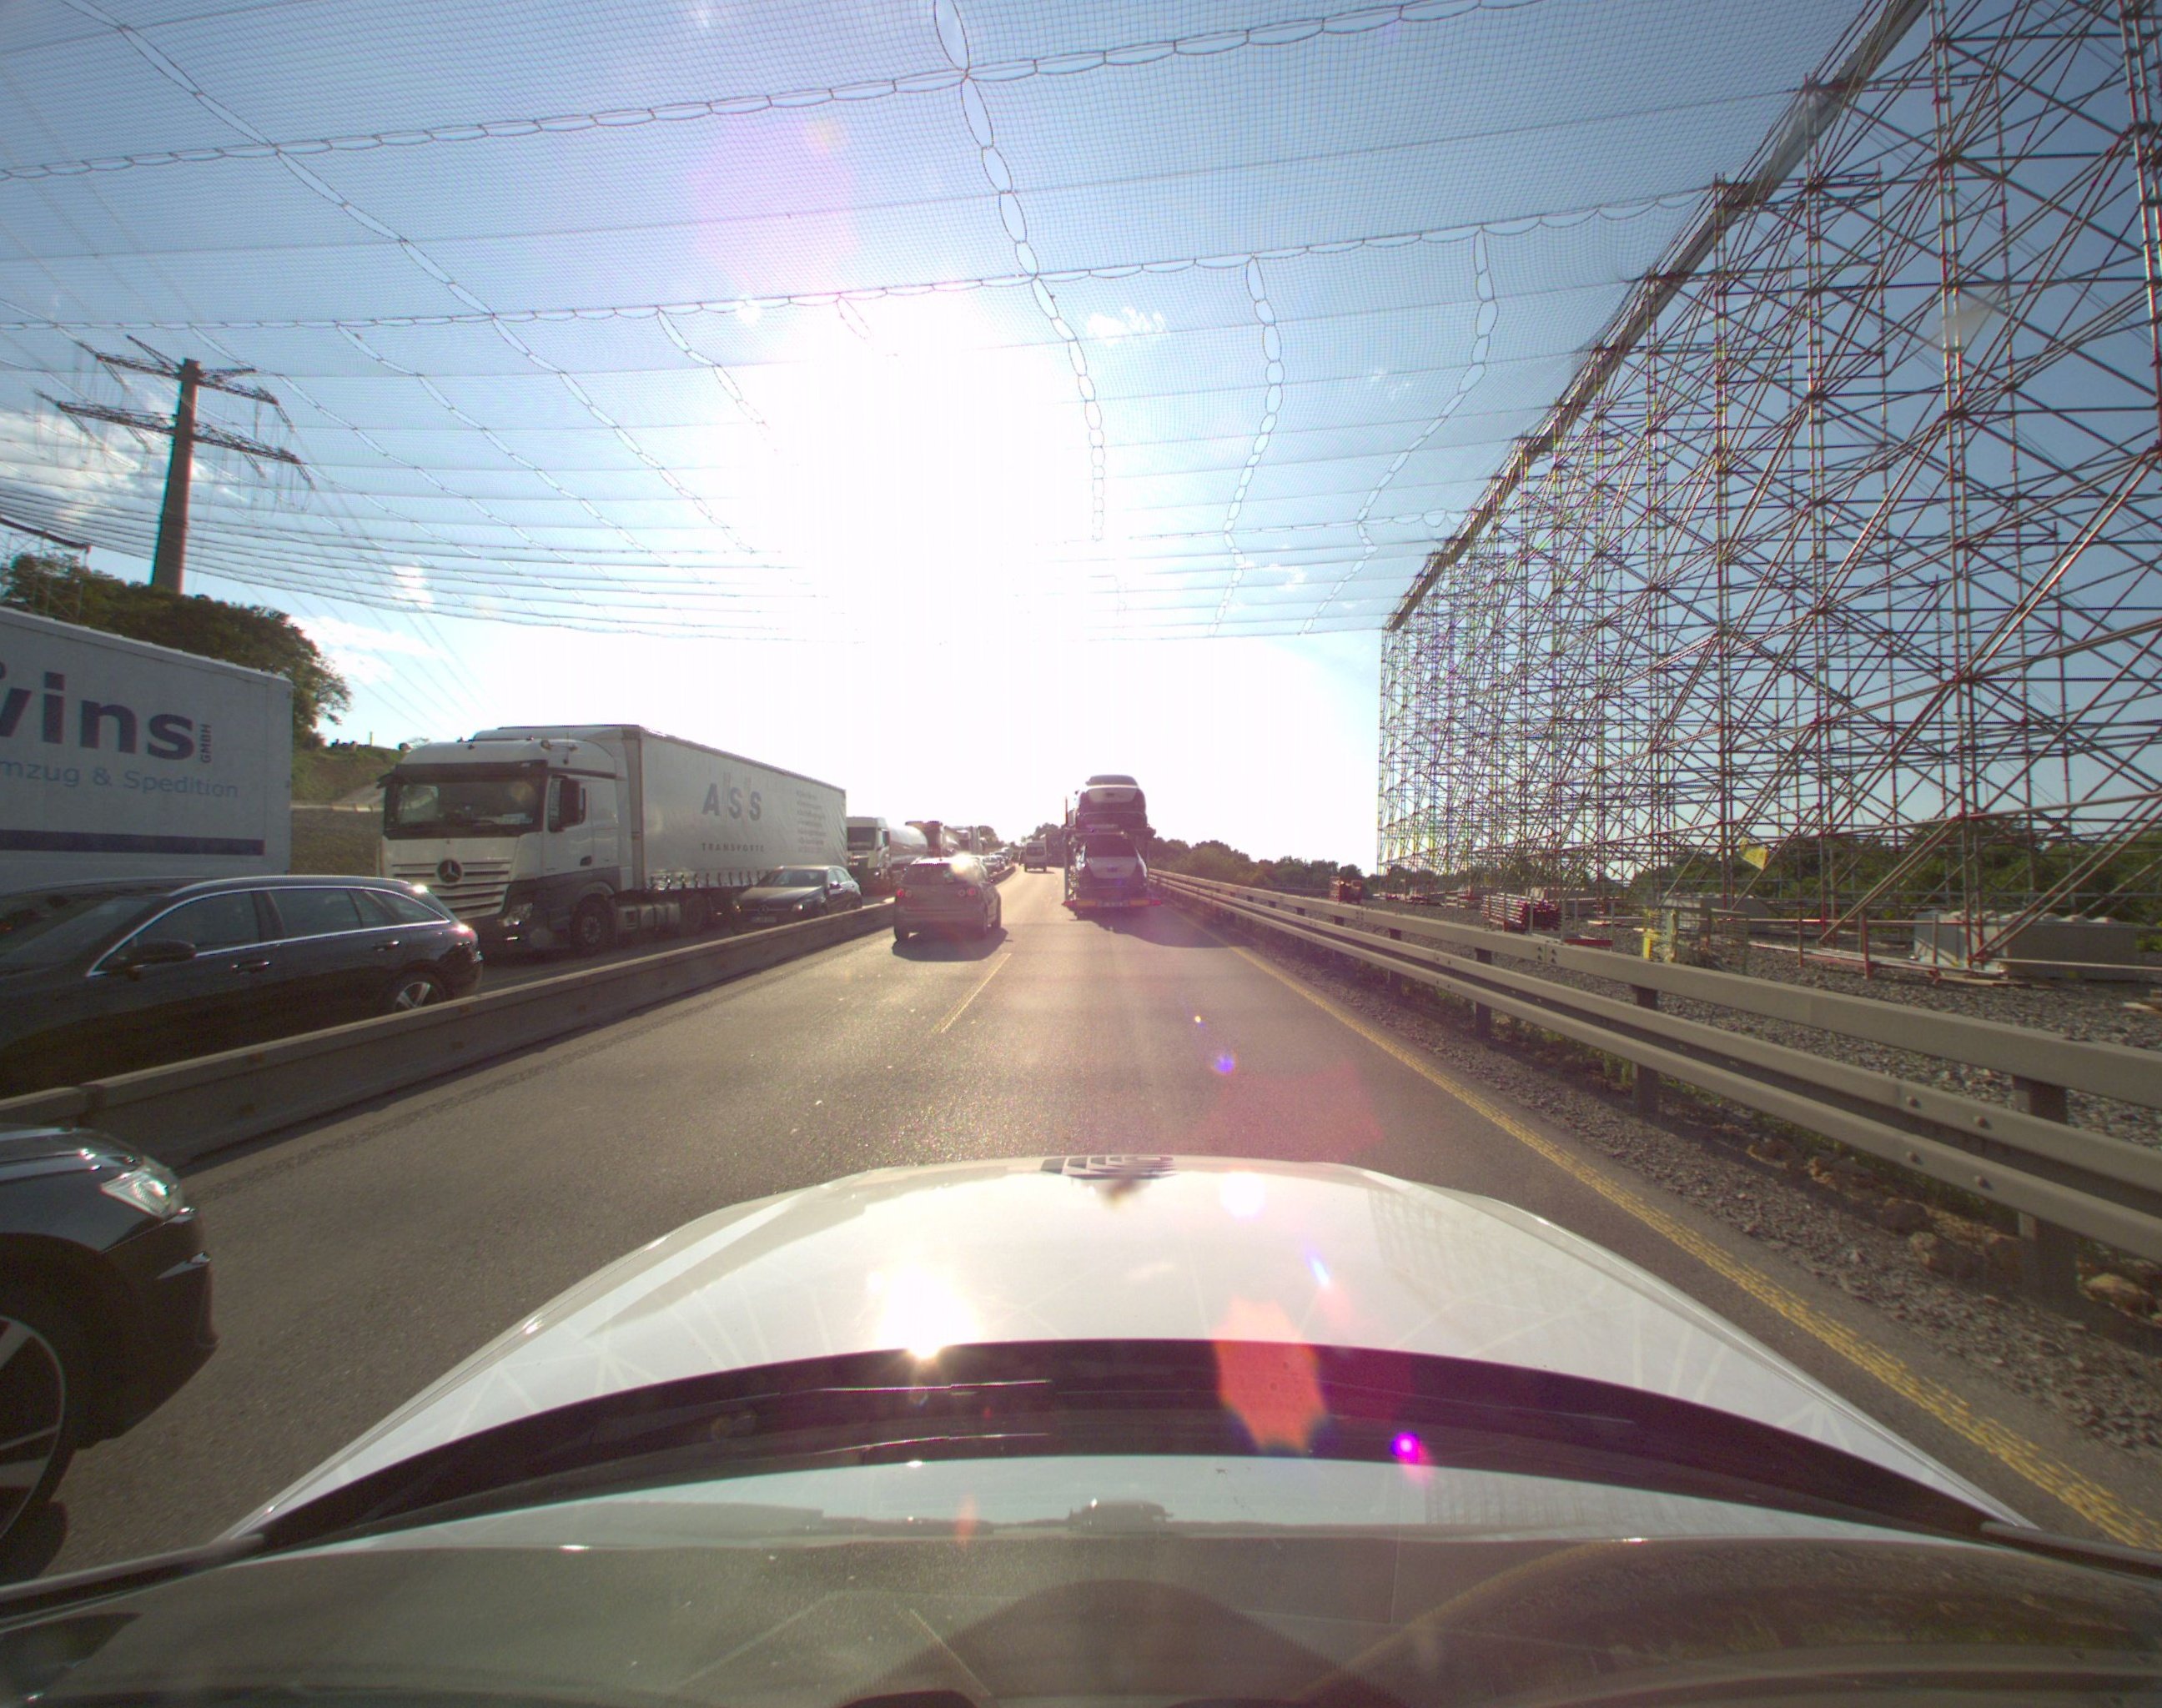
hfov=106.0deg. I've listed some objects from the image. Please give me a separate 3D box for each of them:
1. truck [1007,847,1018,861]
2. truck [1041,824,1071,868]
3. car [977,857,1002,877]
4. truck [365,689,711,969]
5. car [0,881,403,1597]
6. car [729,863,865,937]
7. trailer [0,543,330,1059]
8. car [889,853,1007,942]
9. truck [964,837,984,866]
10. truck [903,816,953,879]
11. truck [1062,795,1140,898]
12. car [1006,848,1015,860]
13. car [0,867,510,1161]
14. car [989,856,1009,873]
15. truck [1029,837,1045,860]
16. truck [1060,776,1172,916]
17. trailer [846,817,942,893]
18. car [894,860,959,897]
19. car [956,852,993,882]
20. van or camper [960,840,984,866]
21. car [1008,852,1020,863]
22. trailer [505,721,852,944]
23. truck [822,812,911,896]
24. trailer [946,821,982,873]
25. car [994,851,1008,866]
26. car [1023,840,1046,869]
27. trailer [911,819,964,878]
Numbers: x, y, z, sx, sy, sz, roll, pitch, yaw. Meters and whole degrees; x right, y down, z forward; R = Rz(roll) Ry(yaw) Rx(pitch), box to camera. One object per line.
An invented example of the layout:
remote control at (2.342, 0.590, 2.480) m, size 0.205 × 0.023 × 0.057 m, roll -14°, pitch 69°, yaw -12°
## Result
truck at (-15.787, -0.023, 187.029) m, size 2.587 × 3.170 × 6.664 m, roll -1°, pitch 0°, yaw -5°
truck at (-3.267, -0.906, 103.232) m, size 3.280 × 5.237 × 9.918 m, roll -1°, pitch 0°, yaw -5°
car at (-6.787, 0.923, 60.405) m, size 1.624 × 1.426 × 4.381 m, roll -1°, pitch 0°, yaw -4°
truck at (-9.176, -0.355, 14.655) m, size 2.466 × 4.046 × 5.615 m, roll -1°, pitch 0°, yaw -1°
car at (-3.186, 0.800, 0.100) m, size 1.927 × 1.398 × 4.963 m, roll 0°, pitch 0°, yaw 2°
car at (-6.007, 0.908, 17.682) m, size 1.602 × 1.376 × 3.899 m, roll -1°, pitch 0°, yaw -1°
trailer at (-9.760, -0.422, 2.411) m, size 2.661 × 4.015 × 13.332 m, roll -1°, pitch 0°, yaw 0°
car at (-2.593, 0.794, 16.775) m, size 1.685 × 1.596 × 4.001 m, roll -1°, pitch 0°, yaw 1°
truck at (-14.743, -0.312, 112.394) m, size 2.598 × 3.754 × 6.503 m, roll -1°, pitch 0°, yaw -6°
truck at (-9.812, -0.379, 52.660) m, size 2.427 × 3.785 × 5.610 m, roll -1°, pitch 0°, yaw -3°
truck at (0.695, -0.256, 35.203) m, size 2.829 × 3.792 × 9.983 m, roll -1°, pitch 0°, yaw -1°
car at (-13.059, 0.021, 150.525) m, size 1.628 × 2.014 × 3.990 m, roll -1°, pitch 0°, yaw -7°
car at (-6.381, 0.850, 5.474) m, size 1.772 × 1.450 × 4.663 m, roll -1°, pitch 0°, yaw 0°
car at (-7.508, 0.947, 75.061) m, size 1.624 × 1.426 × 4.652 m, roll -1°, pitch 0°, yaw -3°
truck at (-7.197, -0.816, 134.152) m, size 2.525 × 3.648 × 8.896 m, roll -1°, pitch 0°, yaw -3°
truck at (0.831, -0.172, 25.754) m, size 2.791 × 3.497 × 10.601 m, roll -1°, pitch 0°, yaw -1°
trailer at (-9.320, 0.063, 42.142) m, size 2.300 × 3.362 × 12.047 m, roll -1°, pitch 0°, yaw -1°
car at (-6.310, 0.977, 33.763) m, size 1.787 × 1.398 × 4.244 m, roll -1°, pitch 0°, yaw 1°
car at (-5.992, 0.710, 46.241) m, size 1.747 × 1.587 × 3.938 m, roll -1°, pitch 0°, yaw -3°
van or camper at (-12.493, -0.060, 94.185) m, size 2.404 × 2.891 × 7.603 m, roll -1°, pitch 0°, yaw -5°
car at (-11.003, 0.627, 133.448) m, size 1.822 × 1.772 × 3.995 m, roll -1°, pitch 0°, yaw -3°
trailer at (-9.190, -0.354, 21.645) m, size 2.420 × 3.963 × 14.092 m, roll -1°, pitch 0°, yaw -1°
truck at (-9.222, 0.011, 35.588) m, size 2.407 × 3.370 × 5.615 m, roll -1°, pitch 0°, yaw -1°
trailer at (-10.387, -0.574, 73.004) m, size 2.471 × 4.328 × 10.494 m, roll -1°, pitch 0°, yaw -4°
car at (-10.425, 0.580, 106.289) m, size 1.814 × 1.925 × 4.828 m, roll -1°, pitch 0°, yaw -5°
car at (-4.156, 0.062, 72.995) m, size 1.916 × 2.492 × 5.402 m, roll -1°, pitch 0°, yaw -3°
trailer at (-10.115, -0.342, 58.502) m, size 2.302 × 3.790 × 12.036 m, roll -1°, pitch 0°, yaw -3°
